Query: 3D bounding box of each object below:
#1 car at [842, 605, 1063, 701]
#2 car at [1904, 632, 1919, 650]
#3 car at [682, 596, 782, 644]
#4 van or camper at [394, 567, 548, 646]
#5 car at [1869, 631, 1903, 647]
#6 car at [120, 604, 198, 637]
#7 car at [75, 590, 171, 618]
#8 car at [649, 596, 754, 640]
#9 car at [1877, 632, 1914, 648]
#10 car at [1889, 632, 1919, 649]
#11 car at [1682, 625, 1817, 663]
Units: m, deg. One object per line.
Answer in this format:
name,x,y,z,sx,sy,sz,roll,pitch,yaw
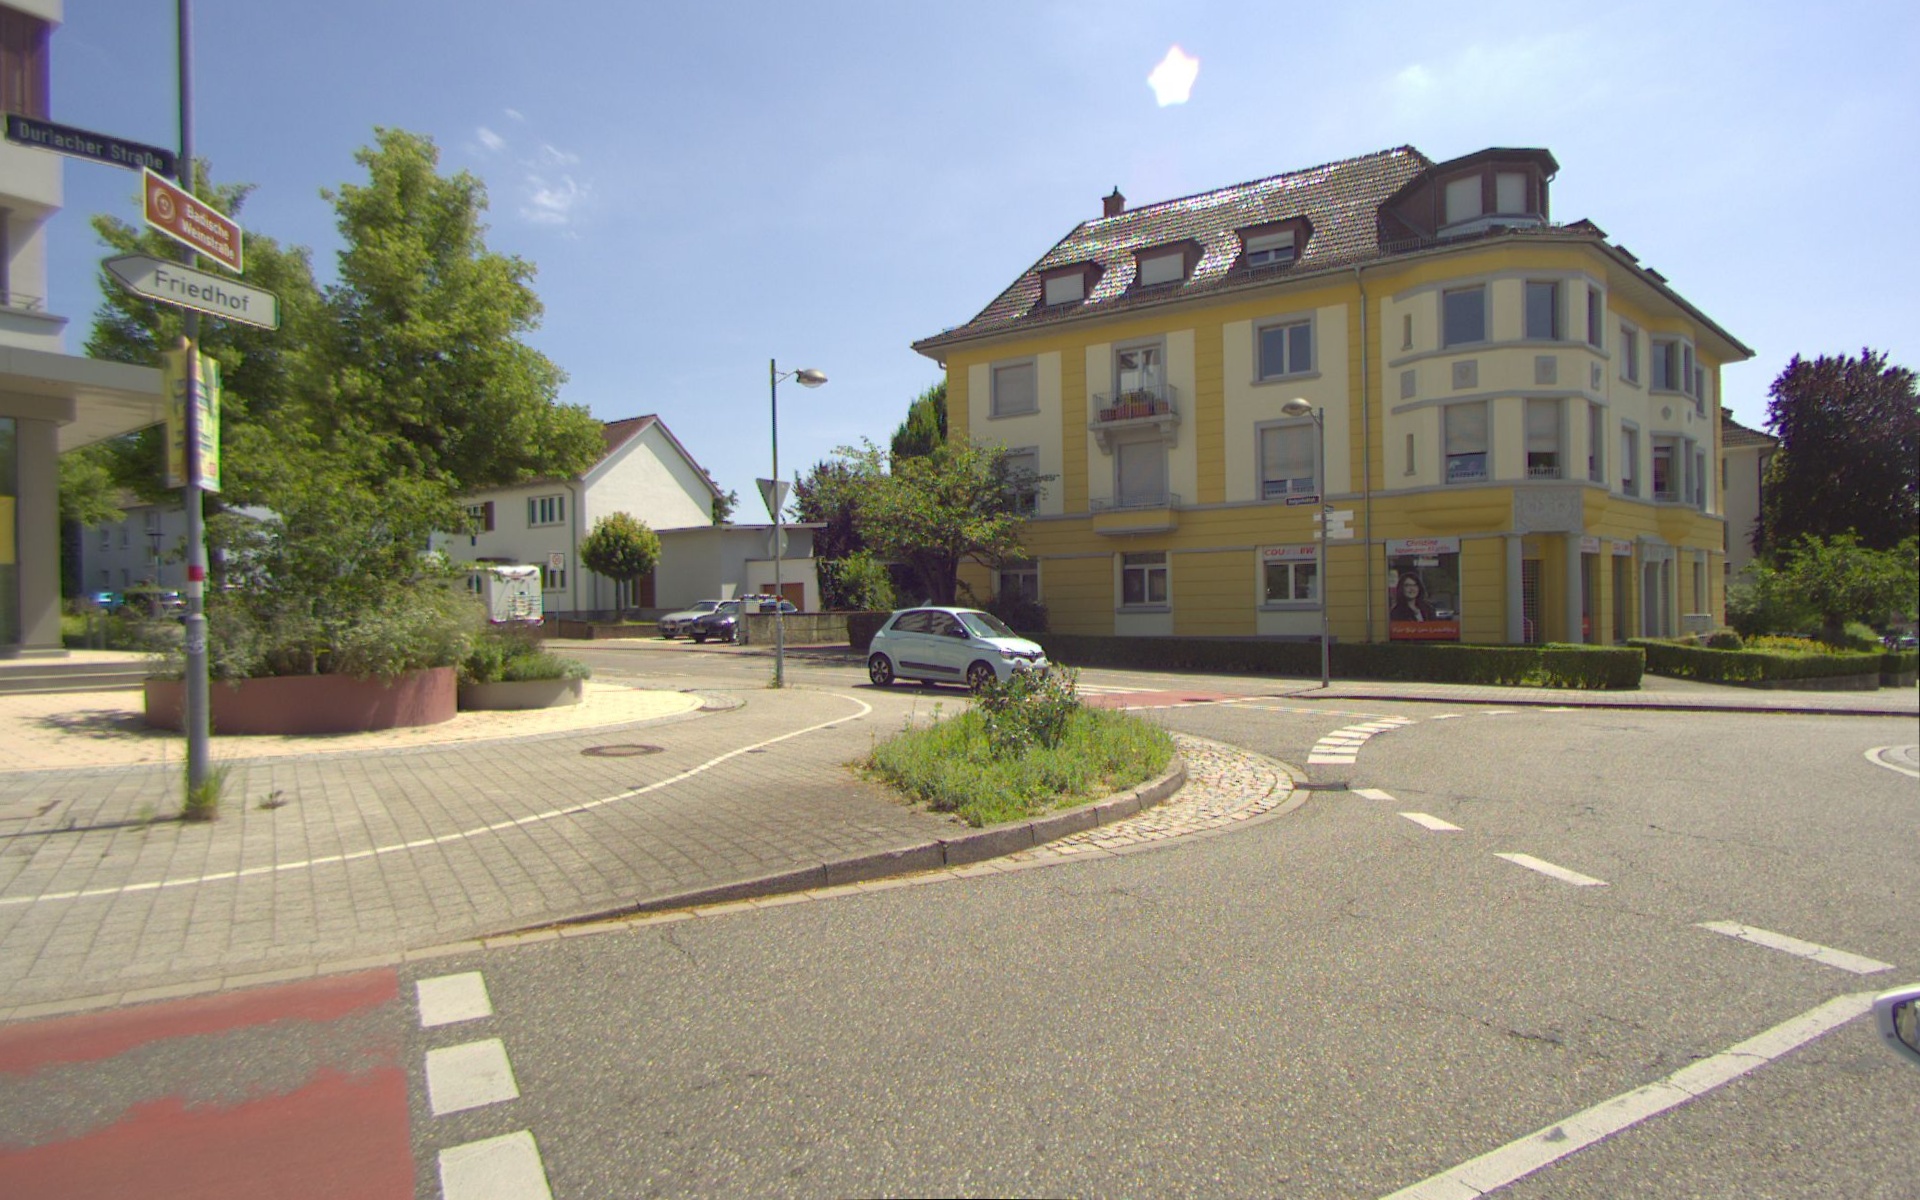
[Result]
car,-0.221,0.927,19.220,4.097,1.545,1.653,1,1,38
car,85.373,3.650,88.931,1.966,1.529,4.406,0,-1,34
car,-8.061,0.701,35.859,1.721,1.607,3.993,0,-1,17
van or camper,-17.971,0.171,36.832,5.782,2.674,2.269,0,2,31
car,95.000,4.007,103.093,1.967,1.508,3.987,2,0,35
car,-39.129,0.986,49.062,3.923,1.525,1.752,0,-1,32
car,-50.975,0.244,61.284,1.782,1.630,4.117,1,-1,24
car,-9.873,0.675,38.681,1.724,1.607,3.987,0,-1,27
car,91.973,3.927,98.837,1.966,1.529,4.406,0,-1,34
car,88.671,3.792,93.970,1.966,1.529,4.406,0,-1,34
car,34.428,1.880,43.979,4.339,1.529,1.997,0,-1,29
